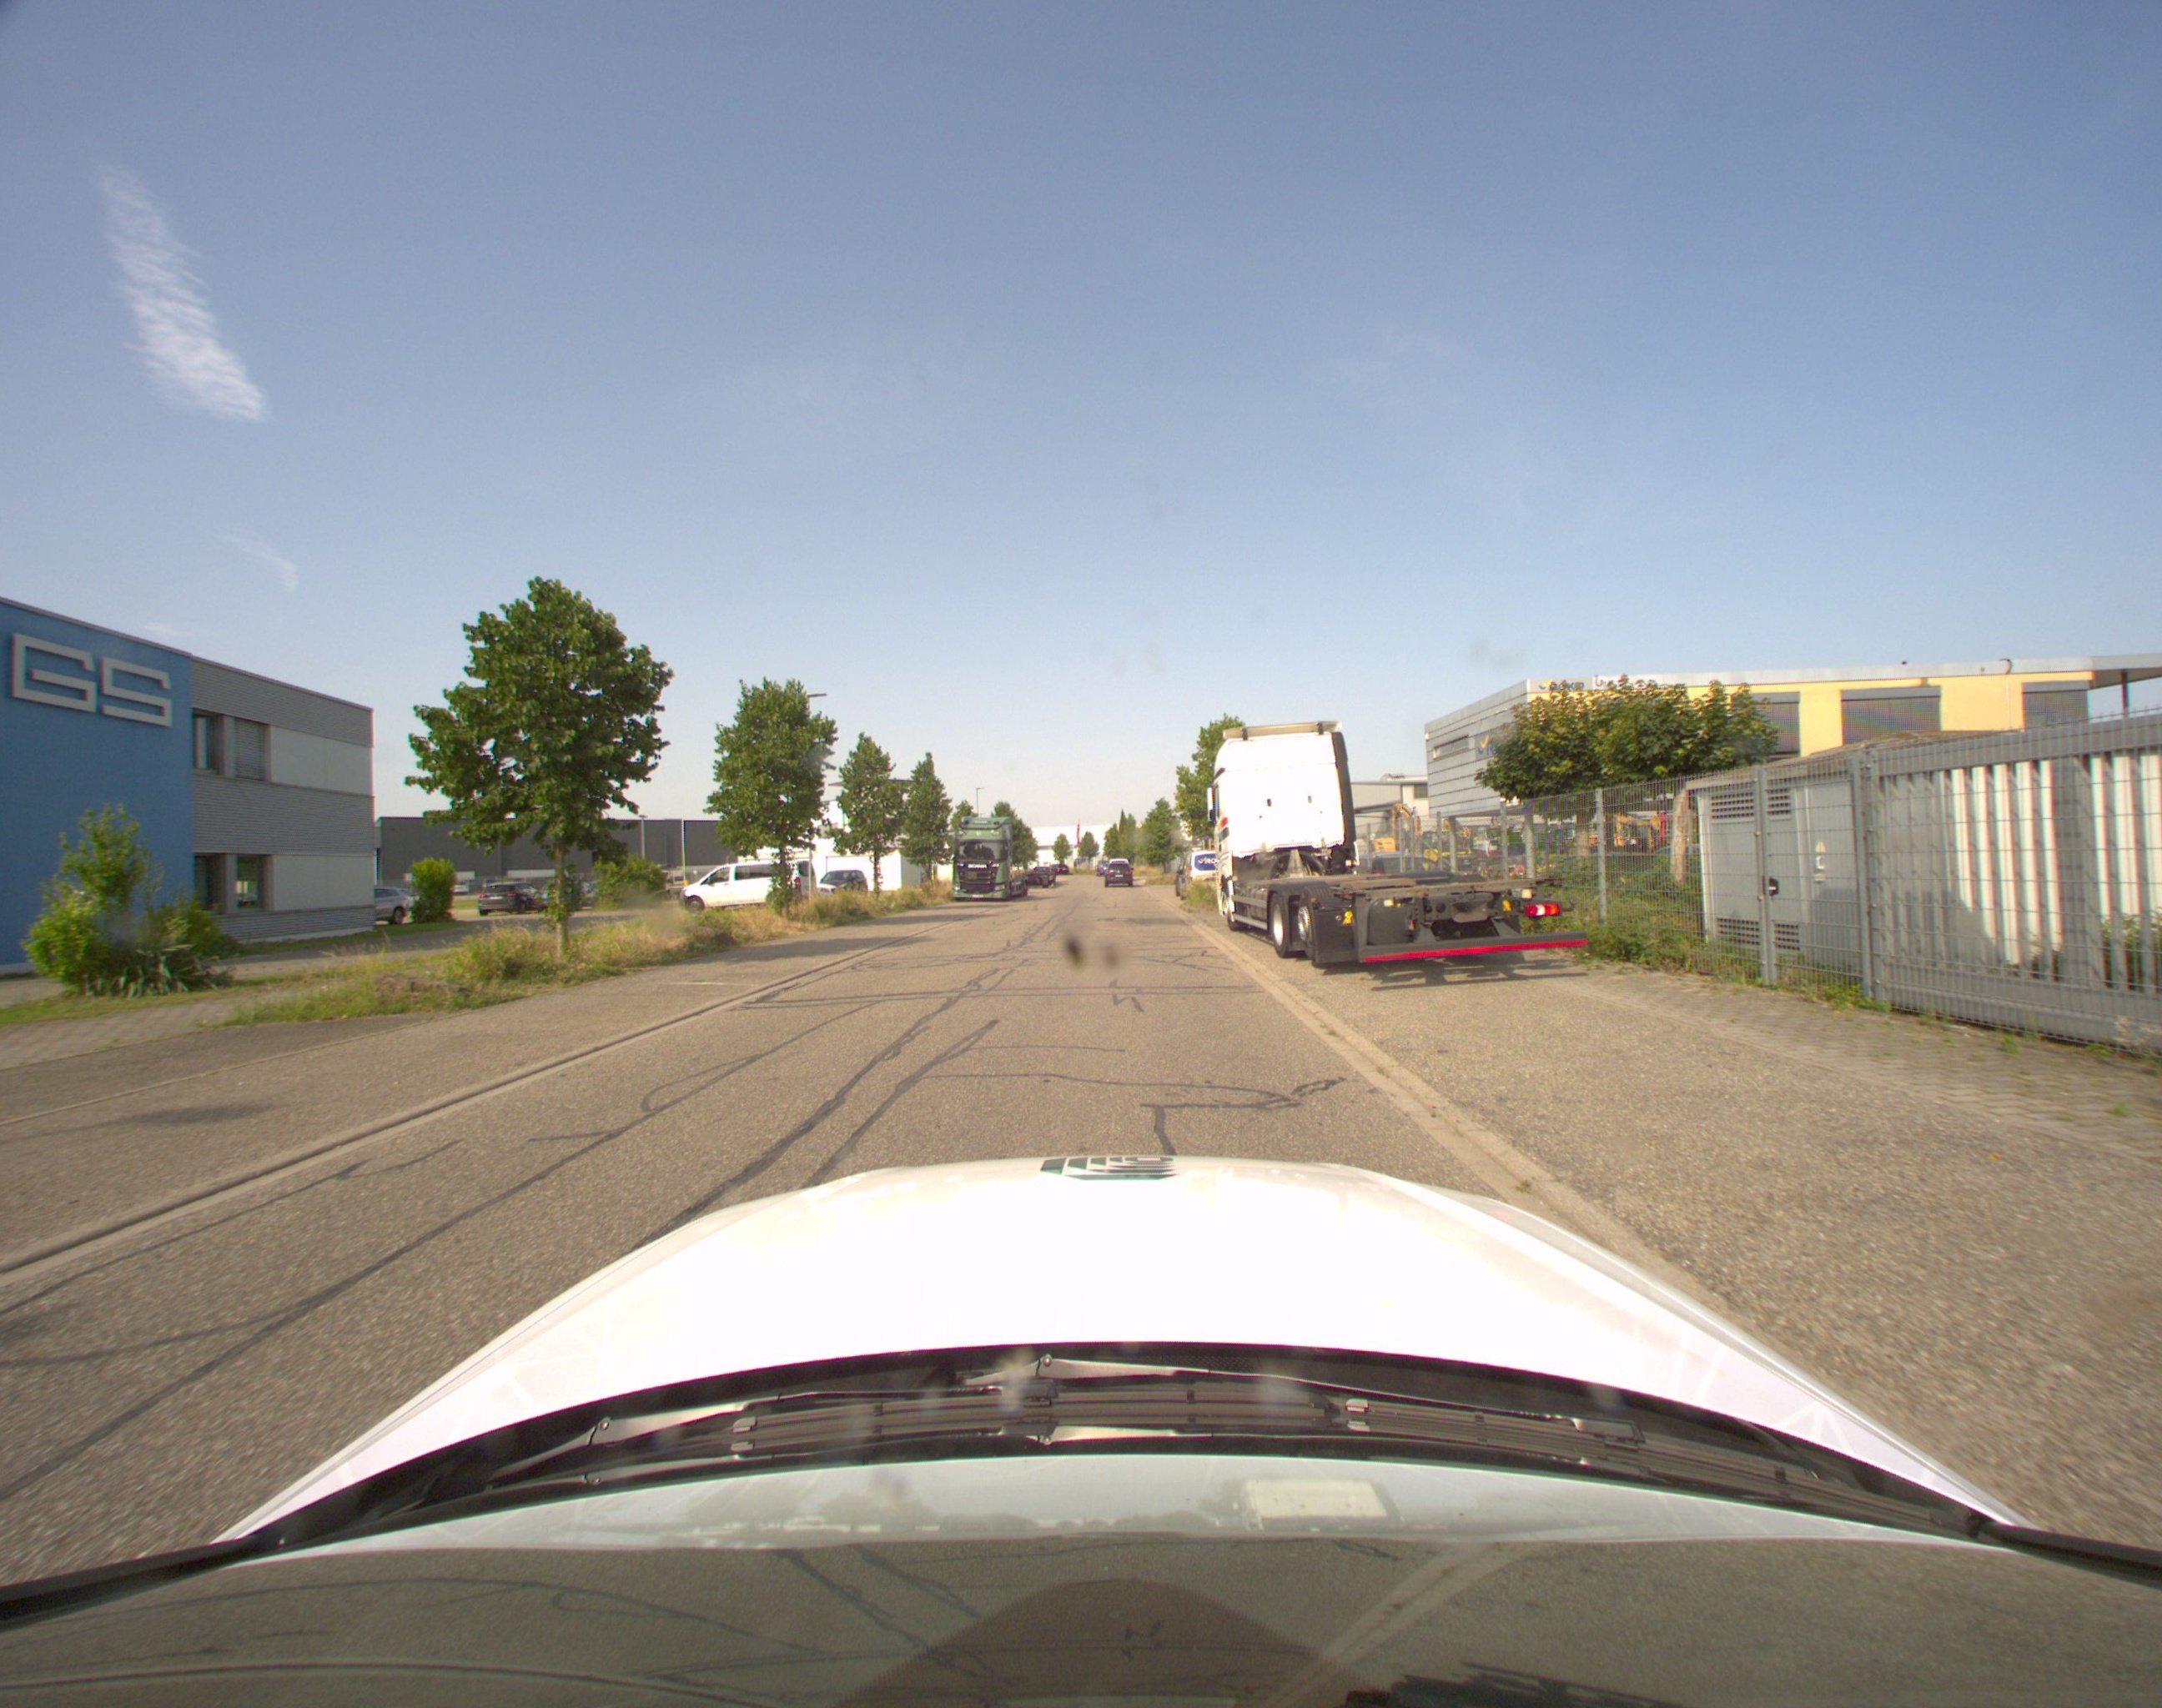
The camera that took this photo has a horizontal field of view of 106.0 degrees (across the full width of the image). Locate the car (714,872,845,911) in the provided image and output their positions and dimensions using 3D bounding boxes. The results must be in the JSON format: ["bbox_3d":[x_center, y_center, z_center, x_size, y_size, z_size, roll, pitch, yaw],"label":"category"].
[{"bbox_3d":[-12.623,1.574,34.283,4.704,1.431,2.003,-2,-1,5],"label":"car"}]

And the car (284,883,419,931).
[{"bbox_3d":[-25.651,1.812,28.849,1.576,1.481,4.503,-2,-1,-13],"label":"car"}]

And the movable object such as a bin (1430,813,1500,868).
[{"bbox_3d":[28.633,-0.927,61.028,2.673,3.874,5.722,-2,-1,3],"label":"movable object such as a bin"}]

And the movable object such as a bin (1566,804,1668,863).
[{"bbox_3d":[39.020,-1.372,59.656,2.459,3.929,7.199,-3,-1,-1],"label":"movable object such as a bin"}]

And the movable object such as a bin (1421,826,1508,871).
[{"bbox_3d":[25.123,-0.329,53.714,2.691,2.716,6.350,-3,0,1],"label":"movable object such as a bin"}]

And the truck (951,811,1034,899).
[{"bbox_3d":[-4.194,0.155,40.802,2.444,3.882,9.811,0,-1,4],"label":"truck"}]

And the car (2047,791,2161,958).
[{"bbox_3d":[13.869,0.174,8.995,4.075,1.835,1.912,-2,-1,1],"label":"car"}]

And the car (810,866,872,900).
[{"bbox_3d":[-13.360,1.602,45.628,1.987,1.686,4.699,-2,-1,1],"label":"car"}]

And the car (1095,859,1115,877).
[{"bbox_3d":[2.563,1.457,85.362,1.985,1.805,4.002,0,0,2],"label":"car"}]

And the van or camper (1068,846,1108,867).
[{"bbox_3d":[0.950,0.374,117.051,2.363,2.848,7.273,-1,-1,-29],"label":"van or camper"}]

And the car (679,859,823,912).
[{"bbox_3d":[-12.786,1.199,31.799,4.685,1.836,2.104,-2,-1,3],"label":"car"}]

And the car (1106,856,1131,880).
[{"bbox_3d":[3.187,1.188,70.648,1.986,1.899,4.468,-2,-1,1],"label":"car"}]

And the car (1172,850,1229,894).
[{"bbox_3d":[4.983,0.771,34.434,1.819,1.720,4.249,-2,-1,1],"label":"car"}]

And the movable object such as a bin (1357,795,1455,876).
[{"bbox_3d":[20.956,-1.136,53.143,3.304,4.806,7.674,-2,0,1],"label":"movable object such as a bin"}]

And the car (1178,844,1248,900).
[{"bbox_3d":[4.585,0.638,29.013,1.985,1.789,4.603,-2,-1,4],"label":"car"}]

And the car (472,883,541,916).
[{"bbox_3d":[-28.207,2.190,40.097,1.974,1.486,3.968,-1,-1,-24],"label":"car"}]

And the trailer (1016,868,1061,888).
[{"bbox_3d":[-3.036,1.698,59.652,2.119,1.232,7.170,0,0,7],"label":"trailer"}]

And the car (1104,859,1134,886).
[{"bbox_3d":[2.616,1.255,56.018,1.985,1.805,4.002,0,0,2],"label":"car"}]

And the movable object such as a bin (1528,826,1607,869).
[{"bbox_3d":[33.870,-0.454,56.904,2.047,2.769,5.691,-3,0,1],"label":"movable object such as a bin"}]

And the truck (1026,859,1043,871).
[{"bbox_3d":[-9.556,2.254,167.278,2.440,2.265,8.008,-2,0,3],"label":"truck"}]

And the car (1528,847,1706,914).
[{"bbox_3d":[12.913,0.603,19.952,1.876,1.432,4.004,-2,-1,4],"label":"car"}]

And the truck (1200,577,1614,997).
[{"bbox_3d":[3.951,-0.646,12.959,2.735,4.015,9.690,-4,0,2],"label":"truck"}]

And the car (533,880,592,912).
[{"bbox_3d":[-25.866,2.066,40.763,1.852,1.486,3.968,-1,-1,-24],"label":"car"}]
